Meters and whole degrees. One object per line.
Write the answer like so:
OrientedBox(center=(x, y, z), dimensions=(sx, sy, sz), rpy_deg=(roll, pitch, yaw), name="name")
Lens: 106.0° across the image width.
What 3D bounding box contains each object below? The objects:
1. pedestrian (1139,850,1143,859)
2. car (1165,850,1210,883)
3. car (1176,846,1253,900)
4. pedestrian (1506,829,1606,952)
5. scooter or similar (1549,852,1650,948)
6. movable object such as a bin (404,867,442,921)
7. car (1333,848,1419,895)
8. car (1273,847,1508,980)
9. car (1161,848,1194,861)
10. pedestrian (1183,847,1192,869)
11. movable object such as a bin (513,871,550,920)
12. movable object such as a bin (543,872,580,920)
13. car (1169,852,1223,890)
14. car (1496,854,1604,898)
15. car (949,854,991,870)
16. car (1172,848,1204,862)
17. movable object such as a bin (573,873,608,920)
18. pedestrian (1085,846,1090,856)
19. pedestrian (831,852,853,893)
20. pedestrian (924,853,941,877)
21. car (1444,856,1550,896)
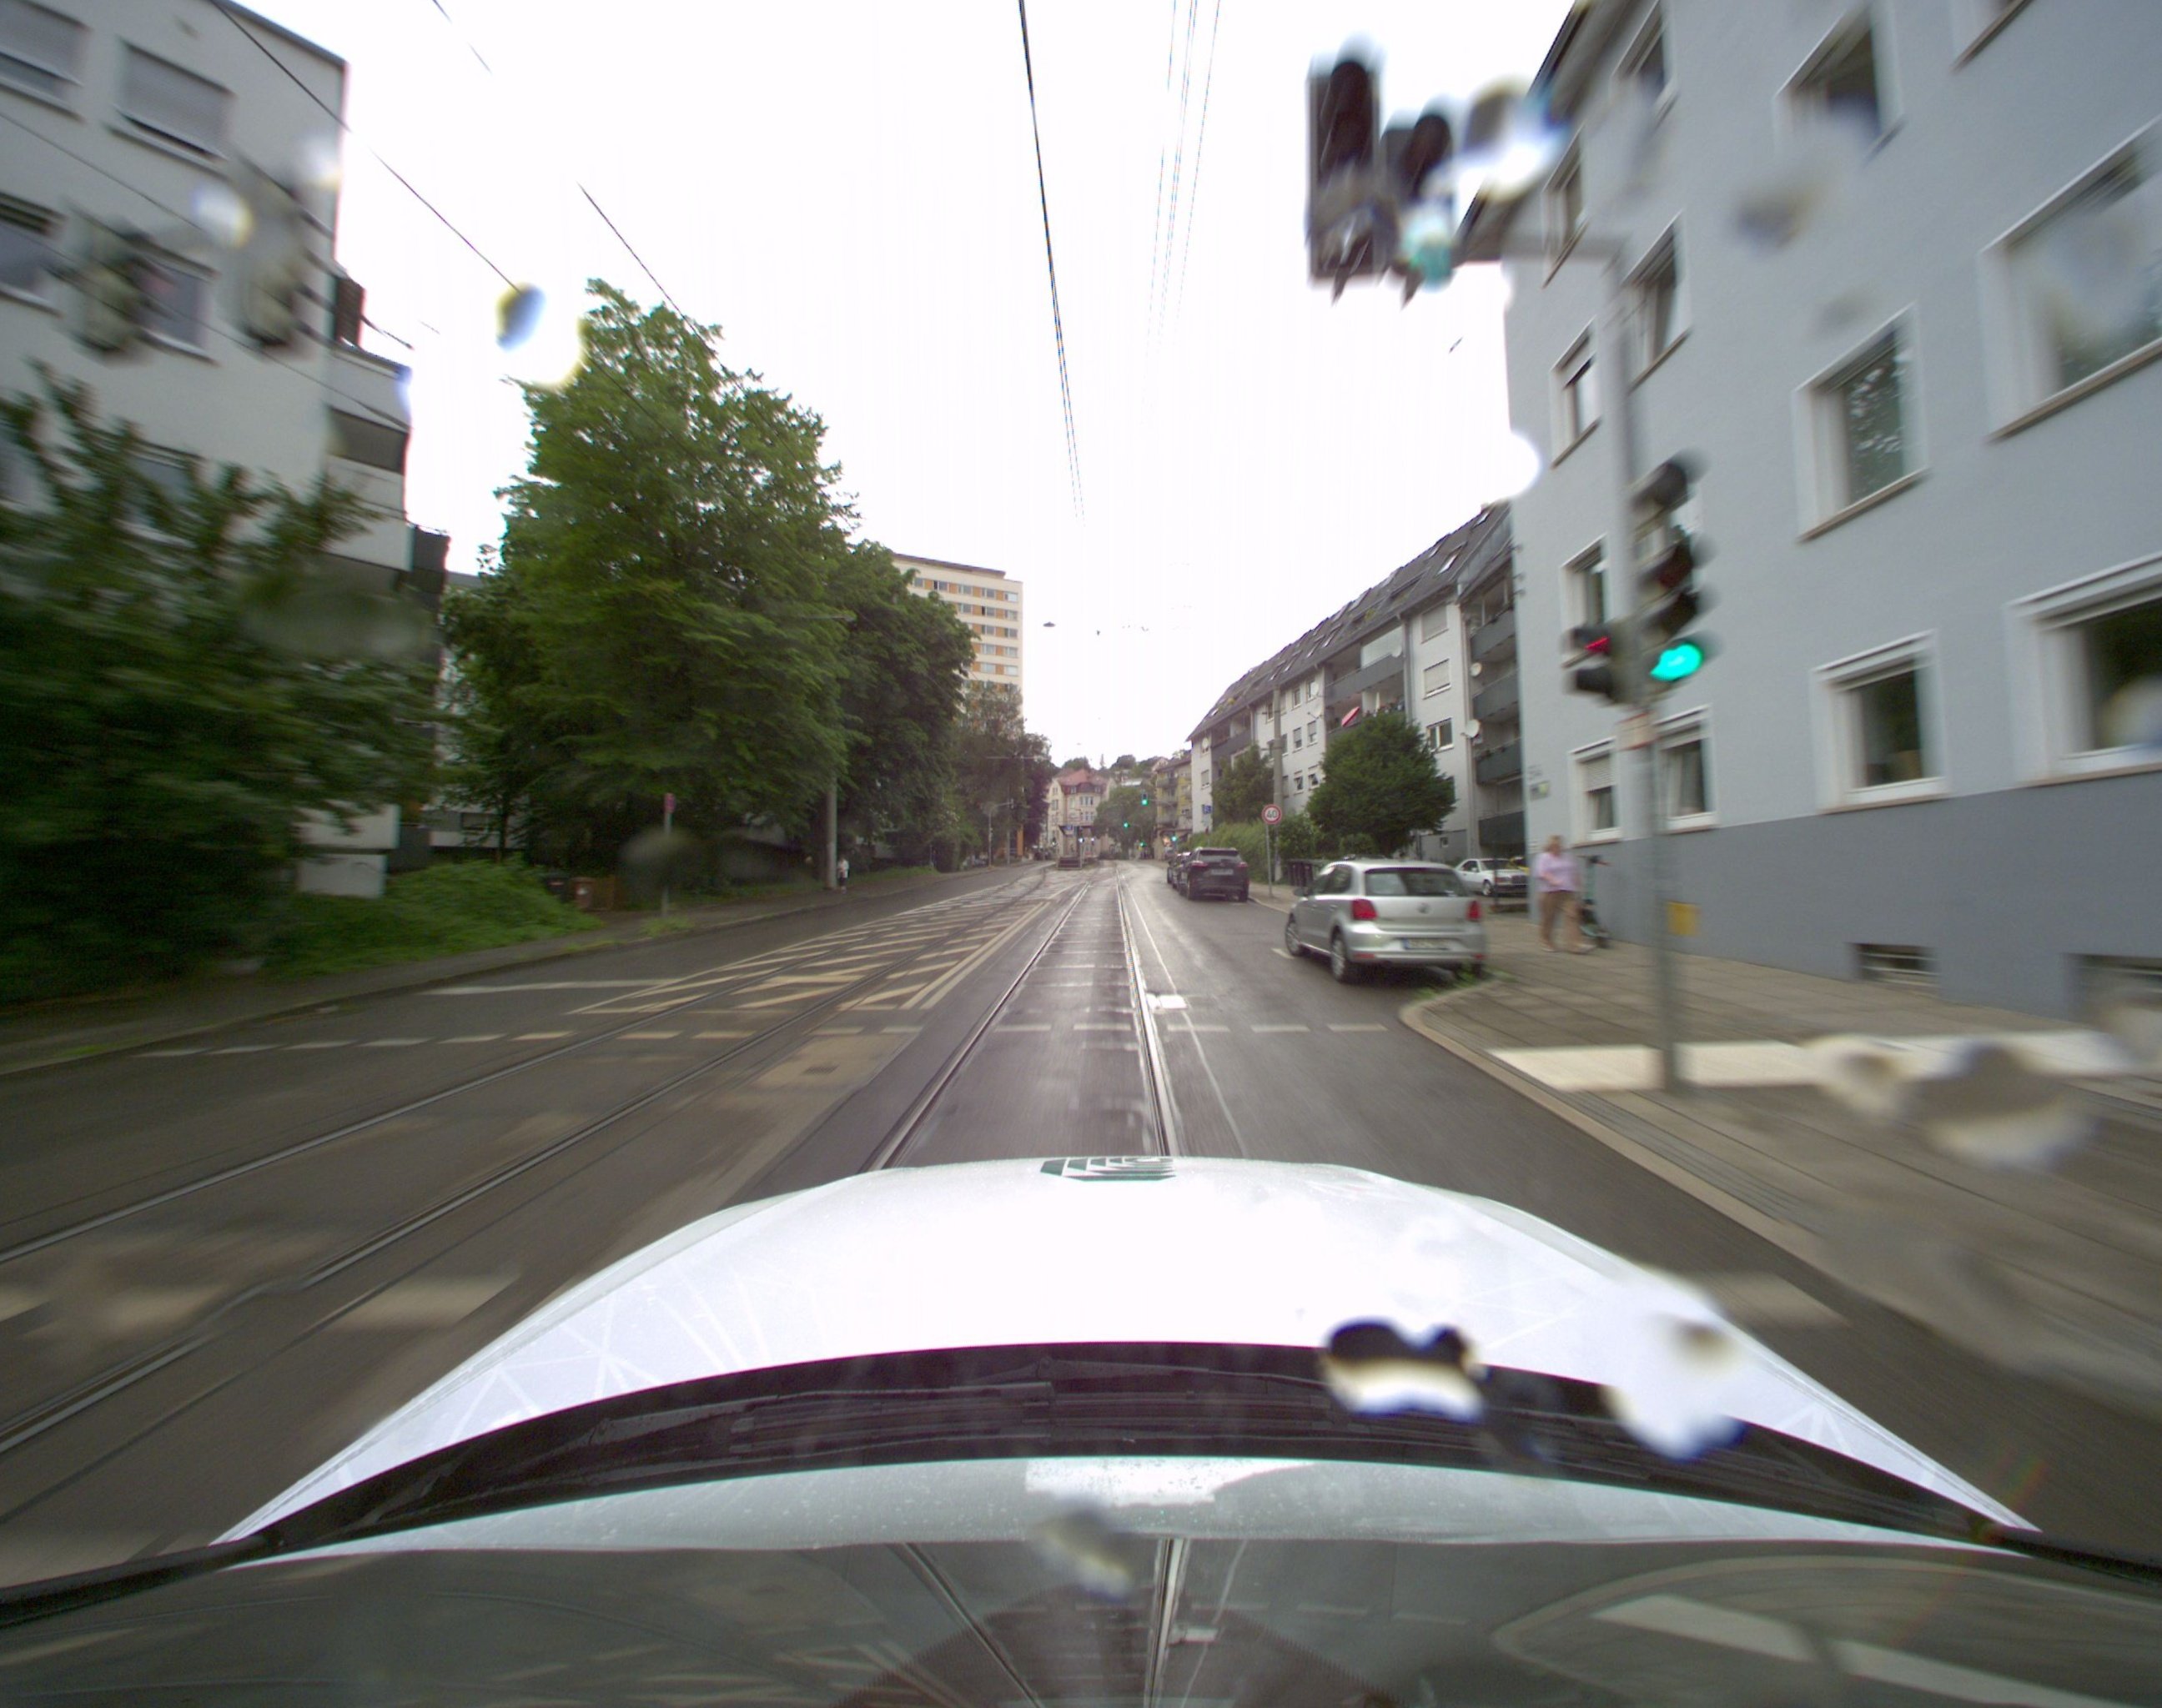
OrientedBox(center=(9.658, 0.086, 130.244), dimensions=(0.577, 1.467, 0.543), rpy_deg=(1, -4, -6), name="pedestrian")
OrientedBox(center=(4.935, 0.580, 38.217), dimensions=(1.698, 1.426, 3.863), rpy_deg=(1, 0, 1), name="car")
OrientedBox(center=(4.358, 0.603, 27.301), dimensions=(1.899, 1.642, 4.690), rpy_deg=(1, 0, 1), name="car")
OrientedBox(center=(6.400, 0.467, 11.016), dimensions=(0.878, 1.583, 0.802), rpy_deg=(-2, 1, 4), name="pedestrian")
OrientedBox(center=(7.260, 0.611, 11.485), dimensions=(0.571, 1.249, 1.613), rpy_deg=(0, -1, 7), name="scooter or similar")
OrientedBox(center=(-15.599, 0.957, 19.299), dimensions=(0.630, 1.234, 0.619), rpy_deg=(4, -5, -40), name="movable object such as a bin")
OrientedBox(center=(10.622, 0.688, 29.656), dimensions=(1.714, 1.515, 4.204), rpy_deg=(0, -4, 2), name="car")
OrientedBox(center=(3.883, 0.666, 11.009), dimensions=(1.698, 1.433, 4.102), rpy_deg=(1, 0, 1), name="car")
OrientedBox(center=(12.286, 0.046, 103.837), dimensions=(3.972, 1.646, 1.808), rpy_deg=(0, -2, 1), name="car")
OrientedBox(center=(7.977, 0.329, 61.165), dimensions=(0.640, 1.629, 0.701), rpy_deg=(0, -2, 9), name="pedestrian")
OrientedBox(center=(-13.993, 1.064, 20.741), dimensions=(0.670, 1.234, 0.619), rpy_deg=(4, -5, -40), name="movable object such as a bin")
OrientedBox(center=(-13.503, 1.096, 21.164), dimensions=(0.670, 1.234, 0.619), rpy_deg=(4, -5, -40), name="movable object such as a bin")
OrientedBox(center=(4.620, 0.645, 33.198), dimensions=(1.698, 1.428, 4.251), rpy_deg=(1, 0, 1), name="car")
OrientedBox(center=(17.332, 0.783, 30.337), dimensions=(1.678, 1.521, 4.205), rpy_deg=(-1, -1, 2), name="car")
OrientedBox(center=(-11.401, 0.820, 83.471), dimensions=(3.951, 1.406, 1.692), rpy_deg=(-1, -4, 24), name="car")
OrientedBox(center=(13.134, 0.138, 100.092), dimensions=(3.829, 1.543, 1.807), rpy_deg=(0, -2, 0), name="car")
OrientedBox(center=(-13.040, 1.132, 21.653), dimensions=(0.670, 1.234, 0.619), rpy_deg=(4, -5, -40), name="movable object such as a bin")
OrientedBox(center=(0.970, -0.394, 124.998), dimensions=(0.654, 1.467, 0.773), rpy_deg=(0, -4, 5), name="pedestrian")
OrientedBox(center=(-9.537, 0.749, 32.561), dimensions=(0.581, 1.600, 0.868), rpy_deg=(2, -1, -2), name="pedestrian")
OrientedBox(center=(-10.915, 0.827, 59.835), dimensions=(0.907, 1.678, 0.745), rpy_deg=(-2, -5, 27), name="pedestrian")
OrientedBox(center=(15.275, 0.770, 30.168), dimensions=(1.770, 1.379, 4.432), rpy_deg=(0, -1, 2), name="car")
